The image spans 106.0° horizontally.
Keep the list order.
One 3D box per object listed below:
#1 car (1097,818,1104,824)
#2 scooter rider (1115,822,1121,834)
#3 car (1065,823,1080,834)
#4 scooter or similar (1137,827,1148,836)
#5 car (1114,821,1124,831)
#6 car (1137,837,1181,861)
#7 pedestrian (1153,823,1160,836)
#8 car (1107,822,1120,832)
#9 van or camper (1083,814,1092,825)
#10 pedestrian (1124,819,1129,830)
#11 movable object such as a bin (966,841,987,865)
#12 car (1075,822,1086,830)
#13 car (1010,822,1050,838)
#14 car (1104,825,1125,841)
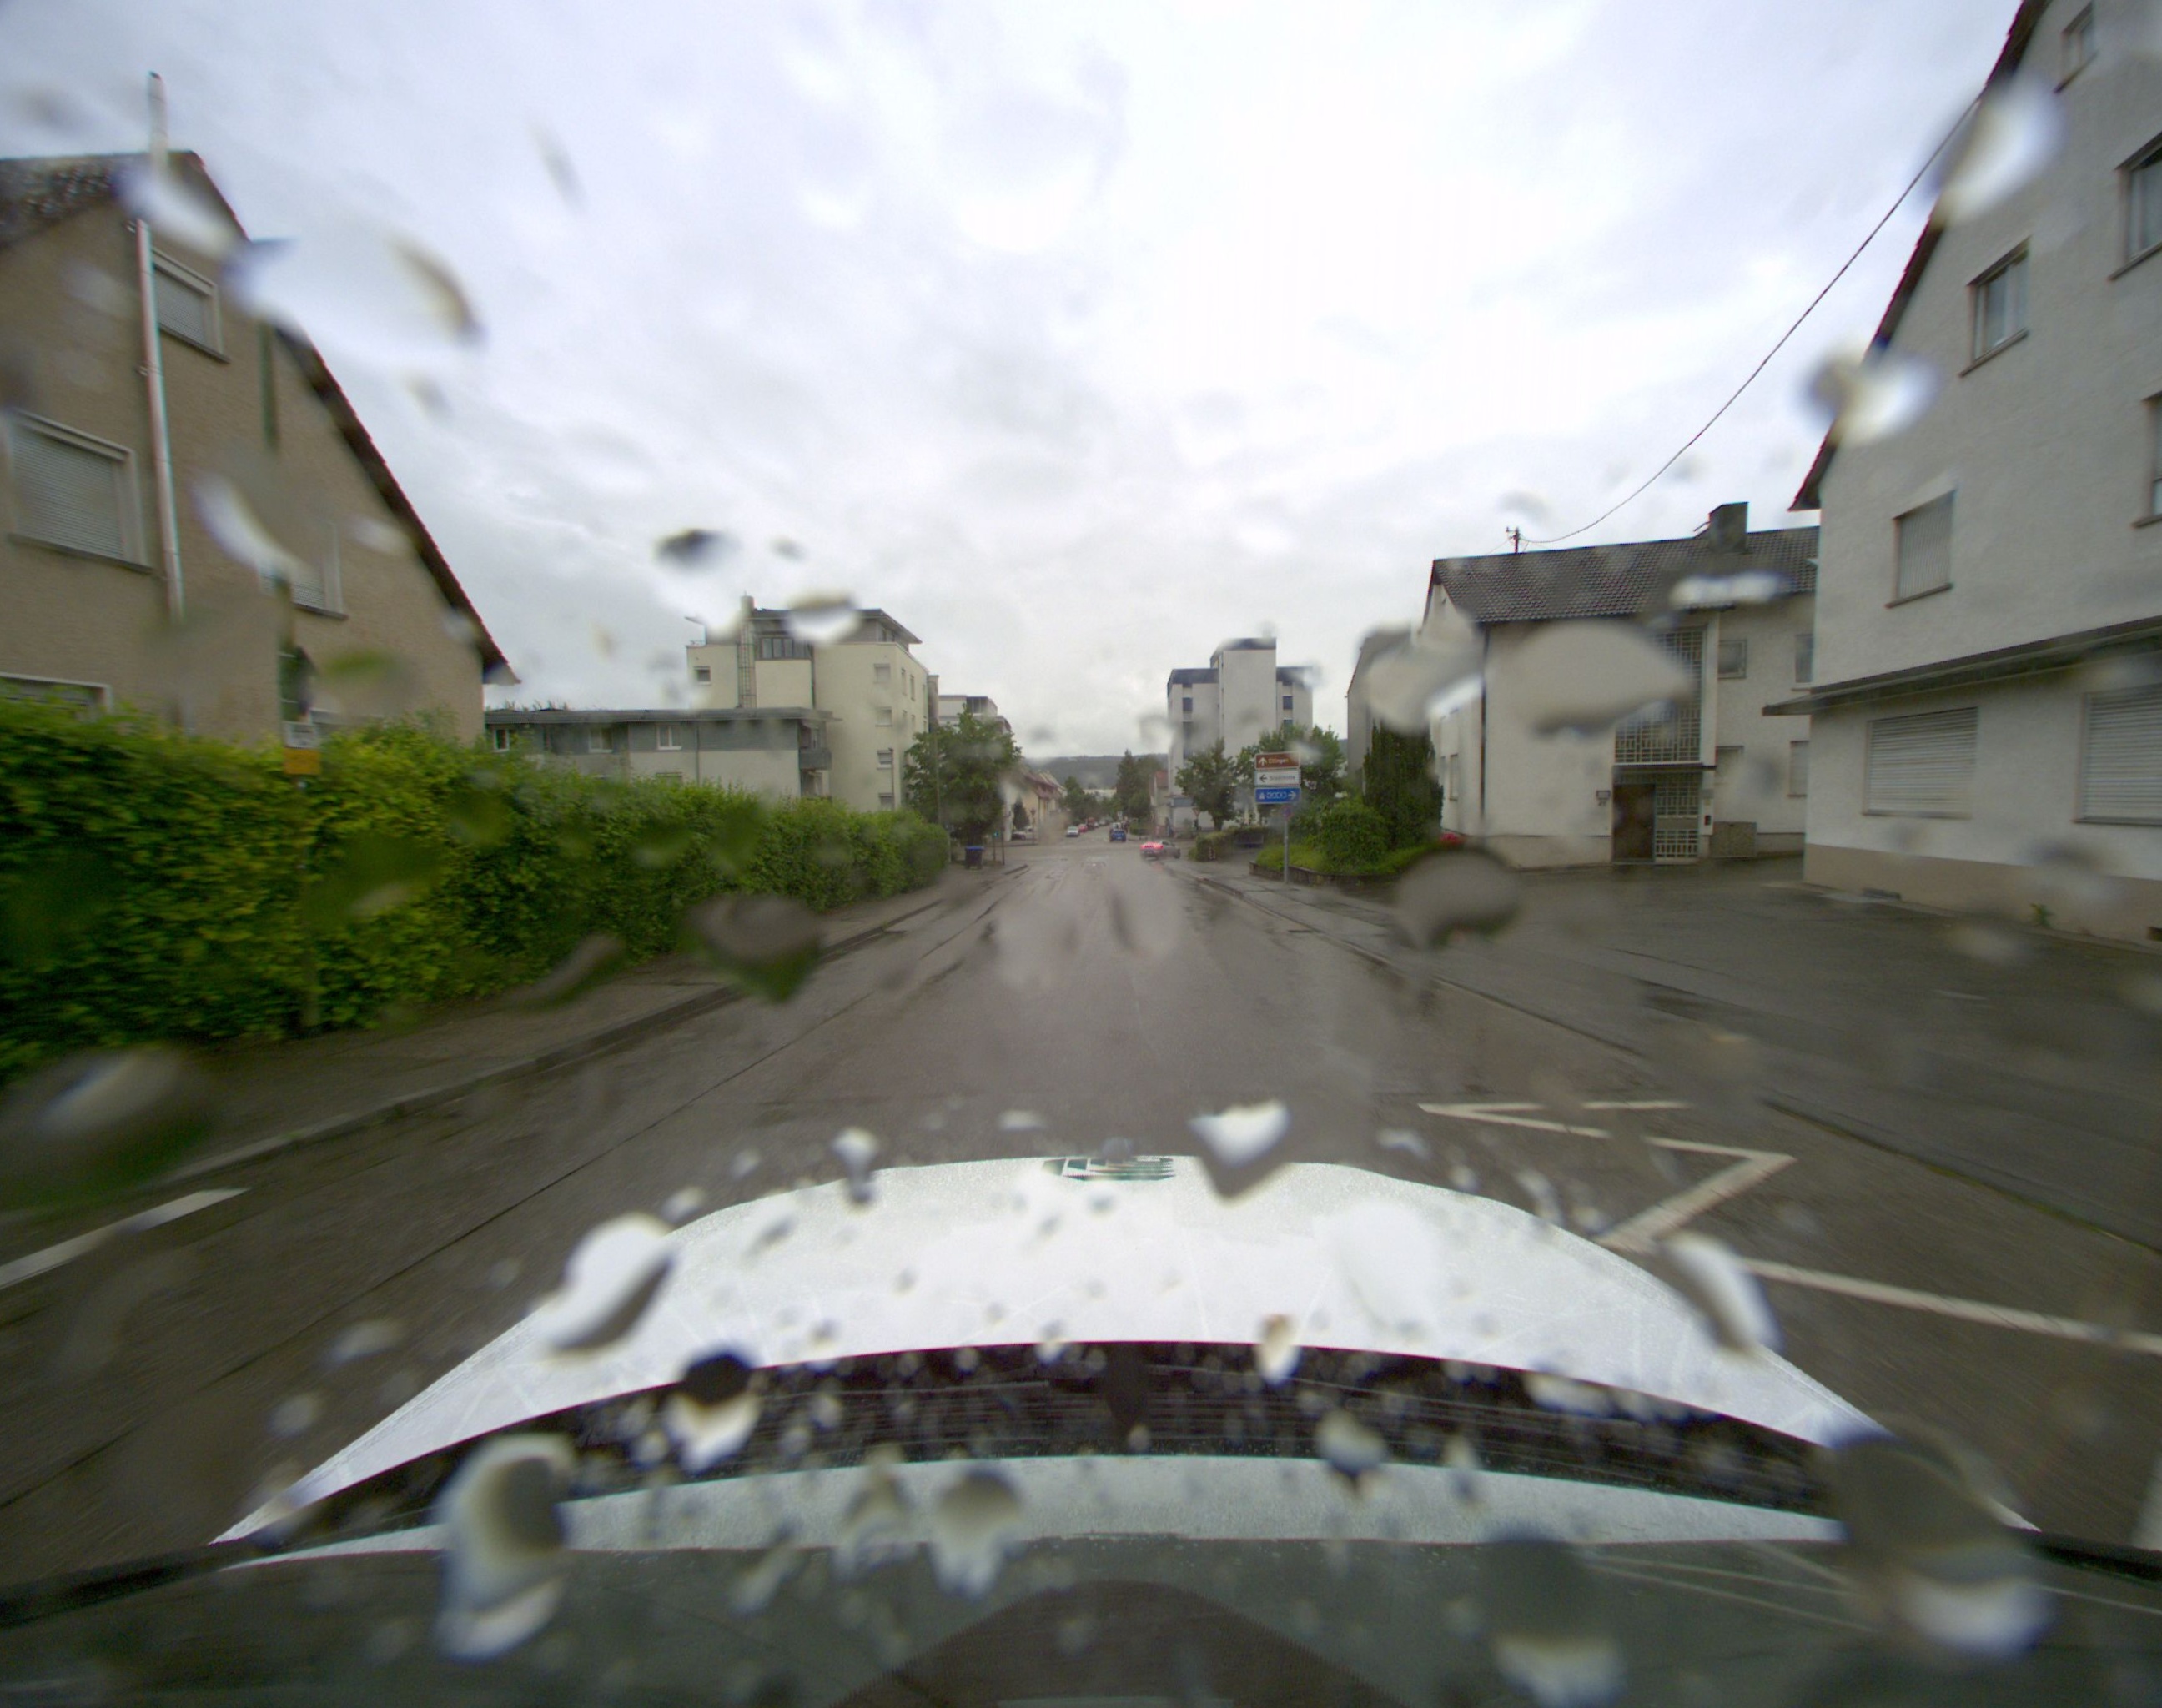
[{"bbox_3d":[5.152,-8.682,213.722,1.894,1.558,4.195,-2,2,2],"label":"car"},{"bbox_3d":[5.850,-4.124,129.920,0.753,1.795,0.670,-3,2,-13],"label":"scooter rider"},{"bbox_3d":[-1.330,-3.979,127.151,1.986,1.625,4.195,-2,2,2],"label":"car"},{"bbox_3d":[7.390,-2.724,97.703,1.265,1.081,0.876,-3,2,-3],"label":"scooter or similar"},{"bbox_3d":[7.656,-5.609,162.782,1.894,1.745,4.195,-2,2,2],"label":"car"},{"bbox_3d":[6.213,-0.403,64.627,1.974,1.683,4.026,-1,3,29],"label":"car"},{"bbox_3d":[9.190,-2.976,99.104,0.646,1.647,0.525,1,1,-5],"label":"pedestrian"},{"bbox_3d":[5.680,-4.713,140.935,2.138,1.588,4.131,-2,2,2],"label":"car"},{"bbox_3d":[1.431,-7.944,186.120,1.894,2.513,4.242,-2,2,2],"label":"van or camper"},{"bbox_3d":[8.028,-5.249,144.824,0.744,1.848,0.525,-3,0,-5],"label":"pedestrian"},{"bbox_3d":[-6.025,-0.063,46.925,1.068,1.347,1.318,0,1,-1],"label":"movable object such as a bin"},{"bbox_3d":[-0.098,-5.685,163.584,1.894,1.558,4.195,-2,2,2],"label":"car"},{"bbox_3d":[-6.683,-3.141,107.065,4.867,1.835,1.978,-4,3,-37],"label":"car"},{"bbox_3d":[3.884,-2.514,95.190,1.989,1.683,3.996,-3,3,-3],"label":"car"}]
